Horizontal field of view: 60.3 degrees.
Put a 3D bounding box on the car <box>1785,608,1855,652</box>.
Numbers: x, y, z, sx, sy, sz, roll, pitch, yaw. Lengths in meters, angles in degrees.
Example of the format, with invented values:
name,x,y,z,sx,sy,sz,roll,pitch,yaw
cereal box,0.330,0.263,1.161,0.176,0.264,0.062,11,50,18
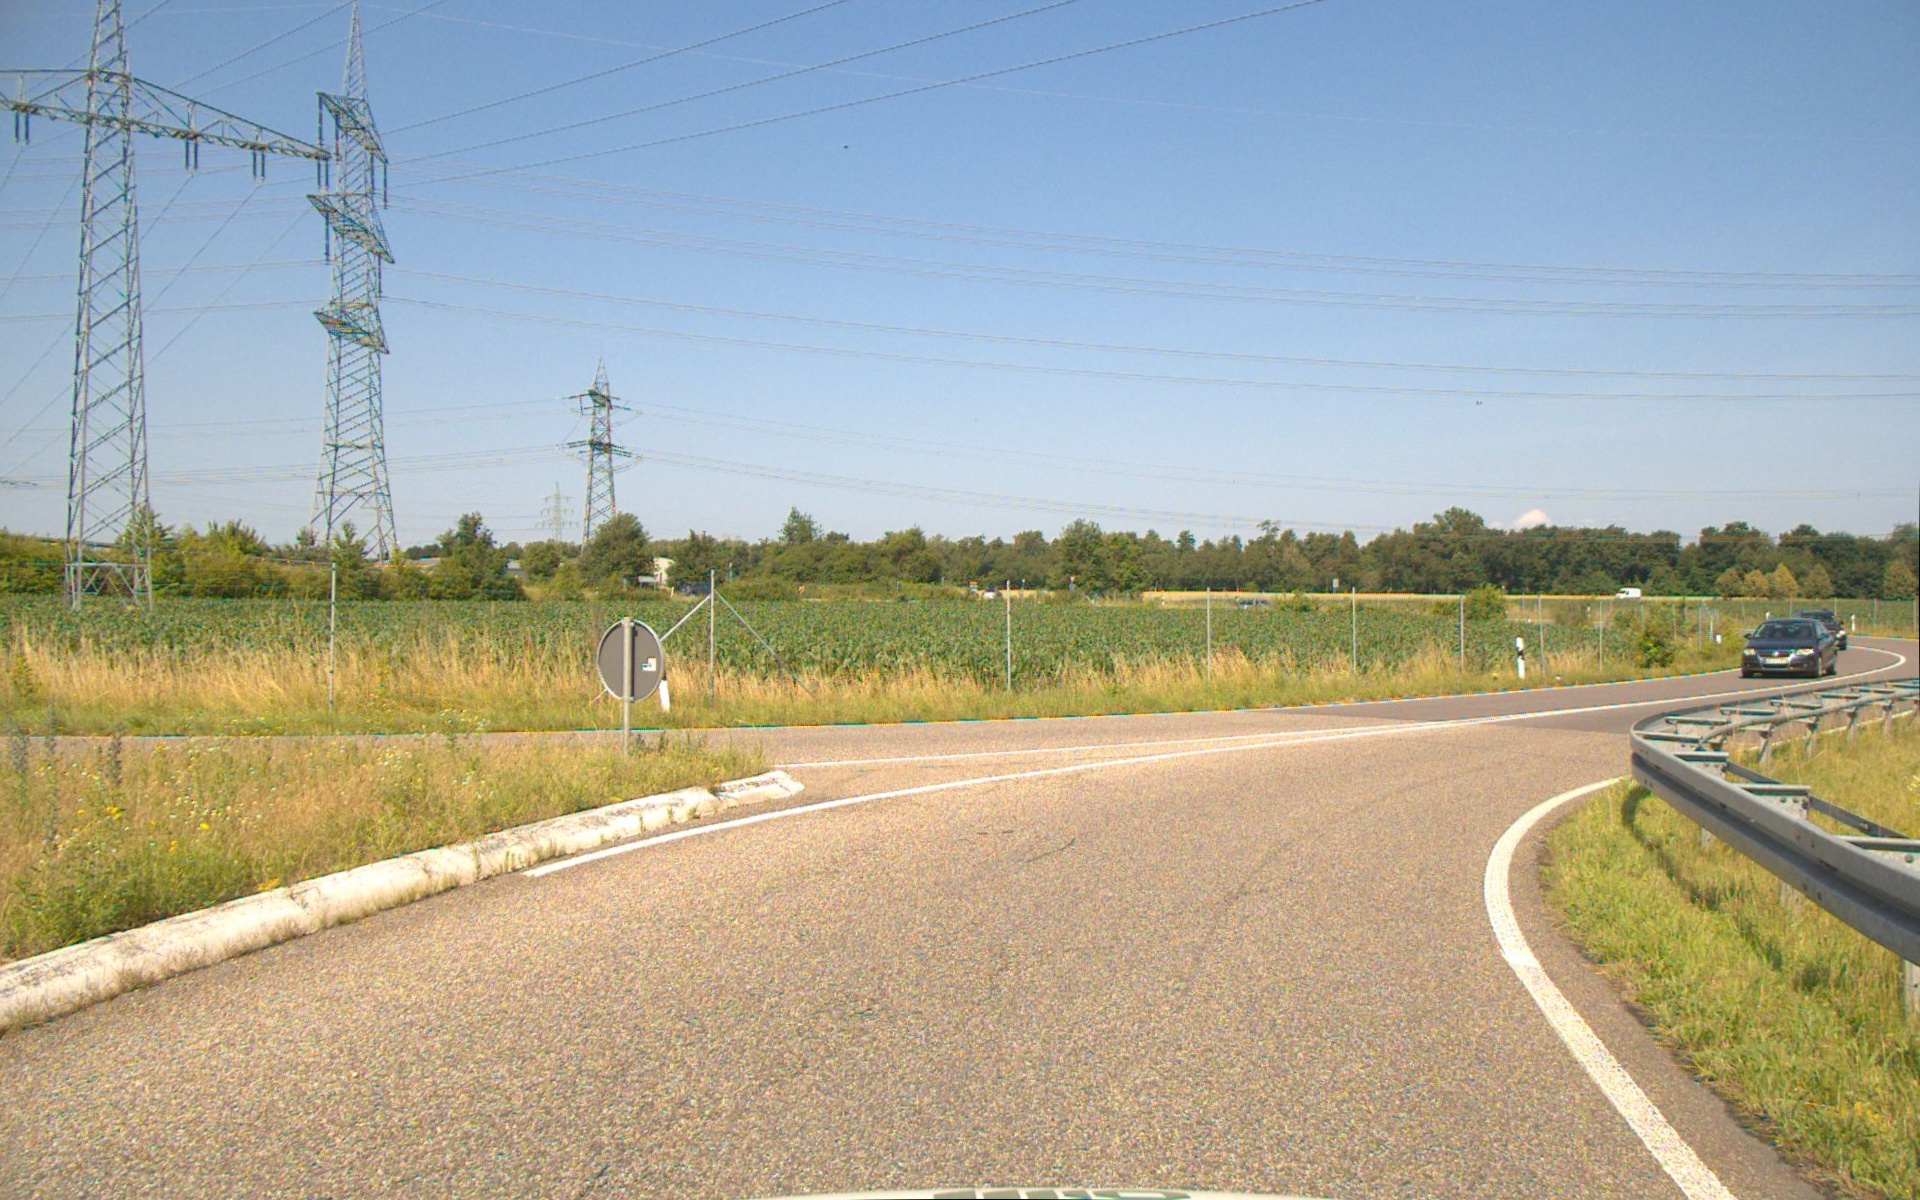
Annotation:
name,x,y,z,sx,sy,sz,roll,pitch,yaw
car,36.436,1.232,70.173,1.942,1.736,4.263,1,1,18

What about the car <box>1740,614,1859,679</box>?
name,x,y,z,sx,sy,sz,roll,pitch,yaw
car,21.204,1.124,41.680,1.747,1.482,4.569,2,1,39
